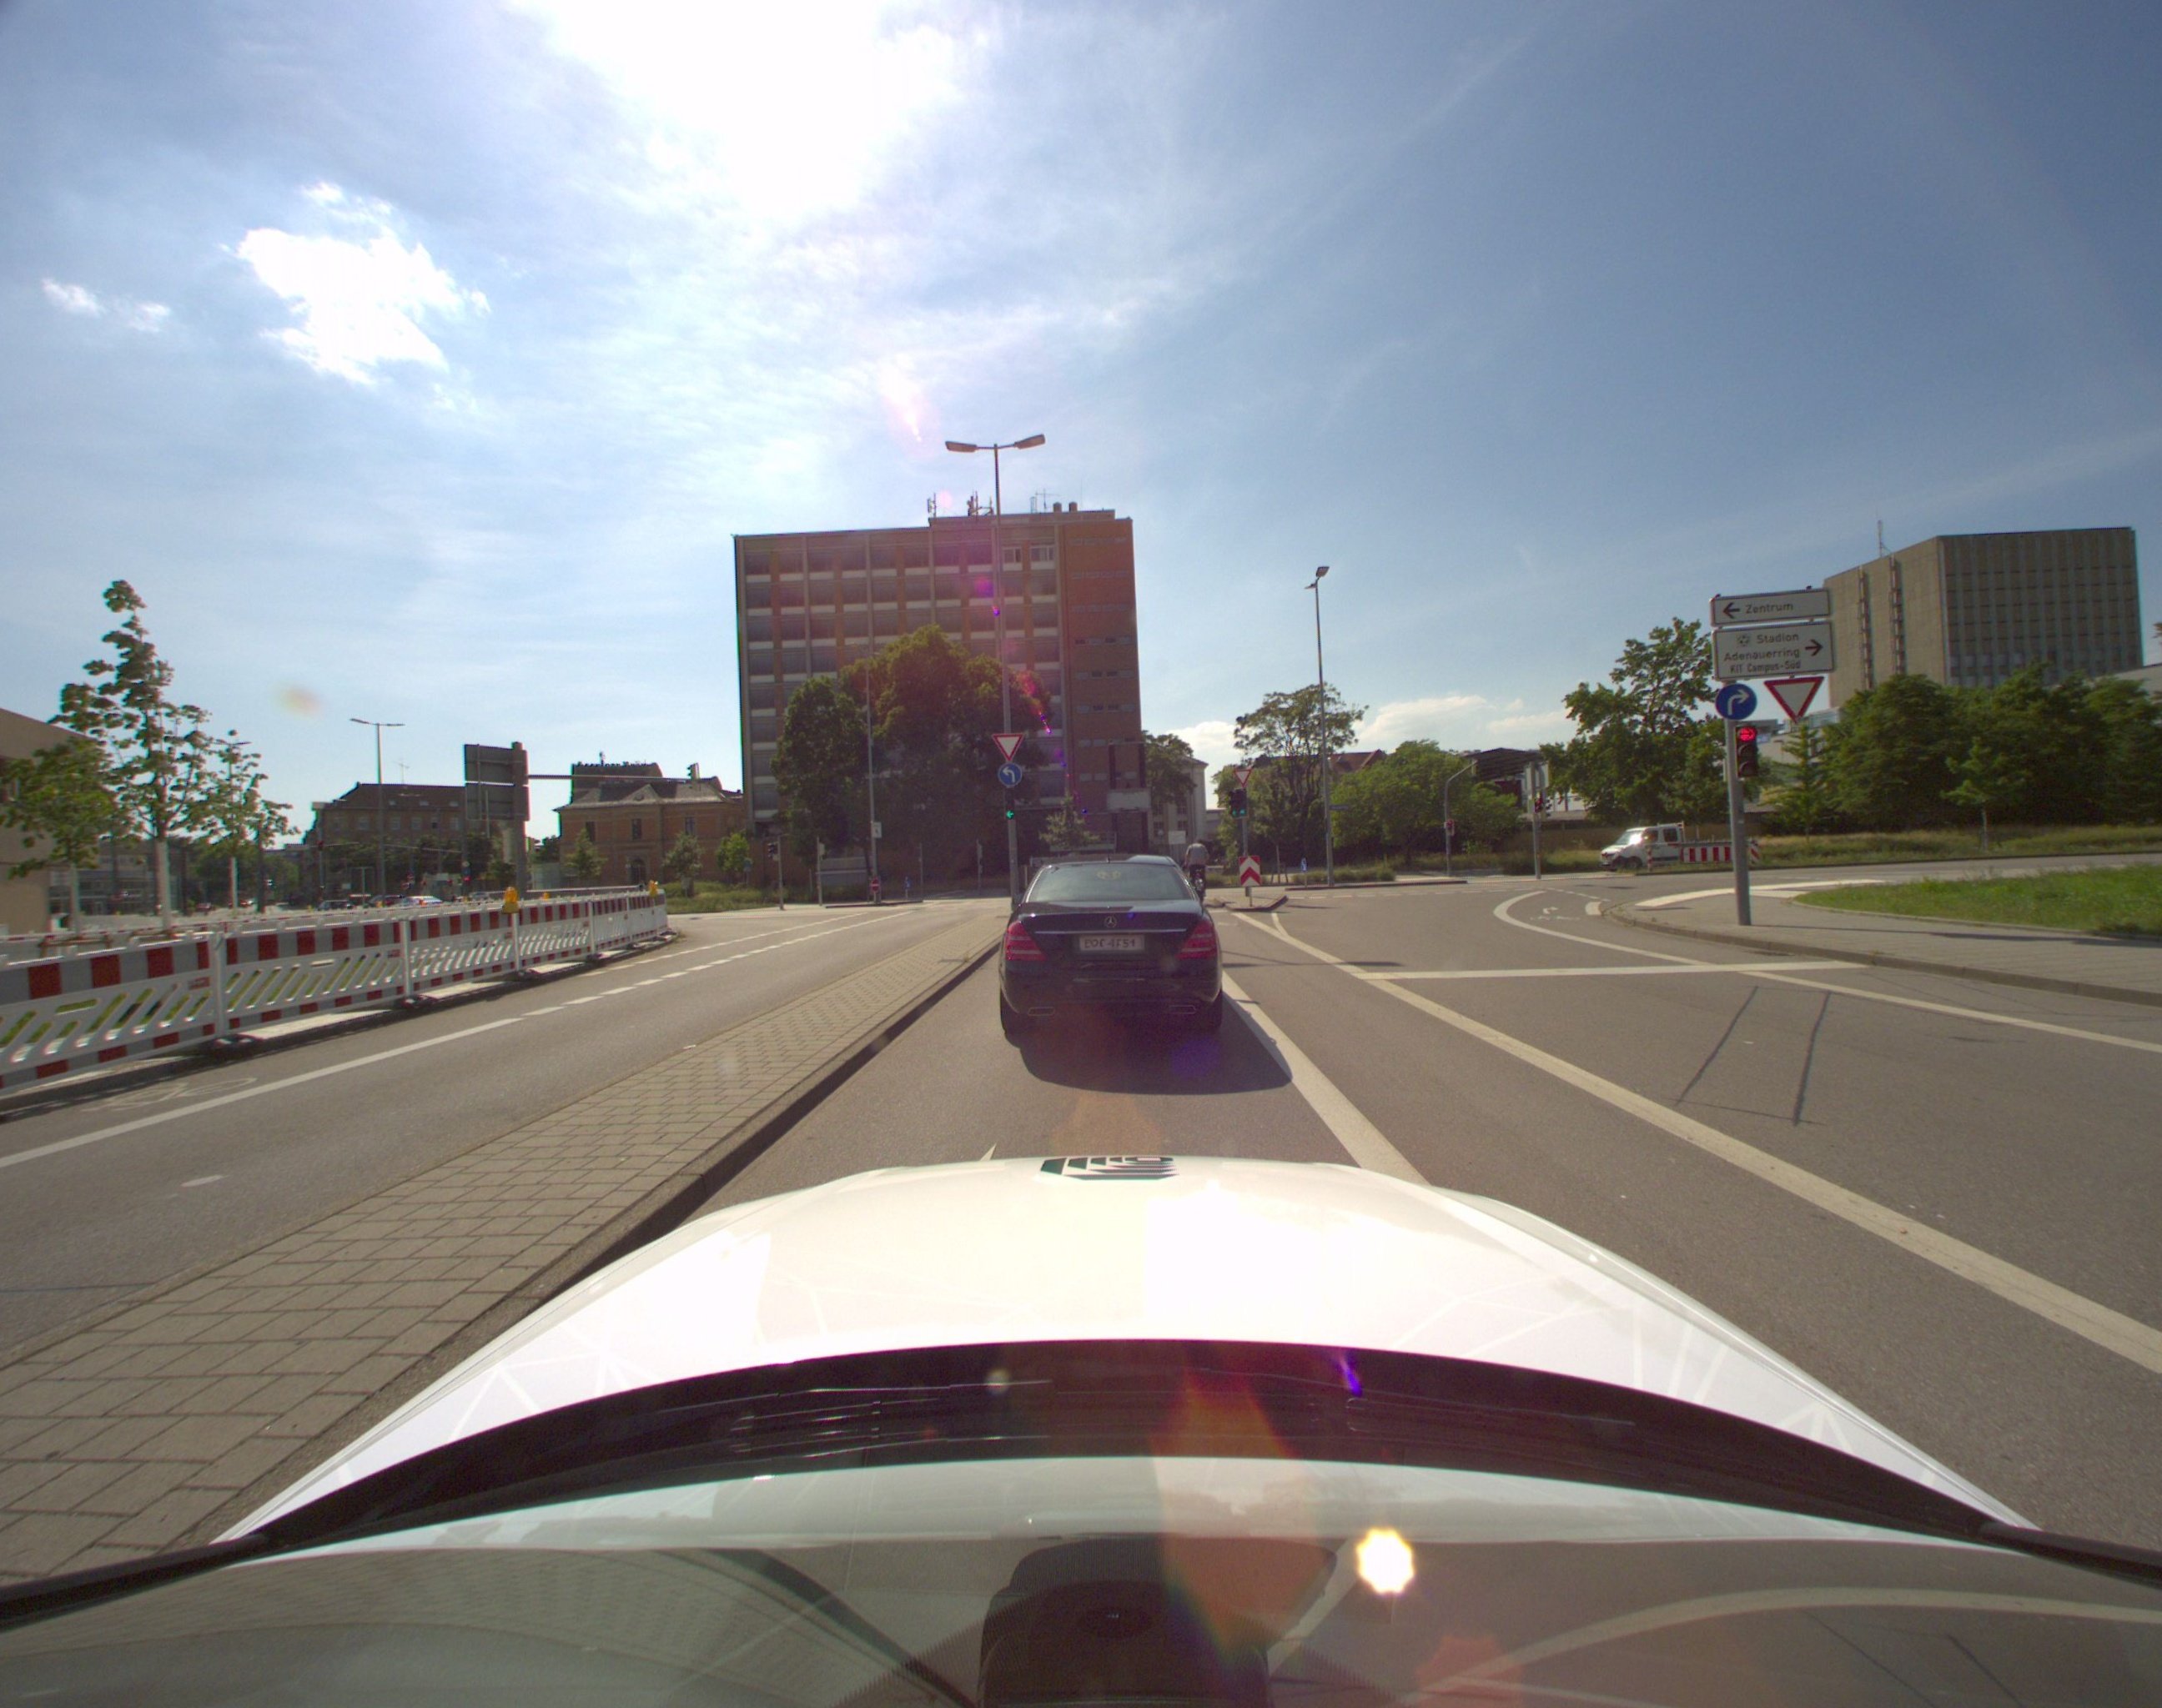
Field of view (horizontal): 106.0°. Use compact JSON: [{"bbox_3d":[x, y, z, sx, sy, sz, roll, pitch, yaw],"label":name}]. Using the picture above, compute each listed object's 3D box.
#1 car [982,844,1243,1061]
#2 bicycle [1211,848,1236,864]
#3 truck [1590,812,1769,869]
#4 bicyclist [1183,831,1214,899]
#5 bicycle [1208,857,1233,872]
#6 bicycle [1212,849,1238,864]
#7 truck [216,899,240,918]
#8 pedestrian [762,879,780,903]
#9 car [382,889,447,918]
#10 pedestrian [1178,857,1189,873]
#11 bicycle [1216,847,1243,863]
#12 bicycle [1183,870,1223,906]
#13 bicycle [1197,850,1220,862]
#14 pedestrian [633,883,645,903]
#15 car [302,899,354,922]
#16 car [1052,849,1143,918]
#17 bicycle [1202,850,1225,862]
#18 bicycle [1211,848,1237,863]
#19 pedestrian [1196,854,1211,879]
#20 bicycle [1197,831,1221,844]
[{"bbox_3d":[0.281,0.724,8.203,1.852,1.530,4.715,-1,-1,1],"label":"car"},{"bbox_3d":[16.797,0.208,96.015,2.813,1.659,0.842,-3,1,1],"label":"bicycle"},{"bbox_3d":[29.967,-0.626,40.968,6.997,2.356,2.414,-3,-2,2],"label":"truck"},{"bbox_3d":[3.311,0.316,23.019,0.684,1.878,0.858,-1,-1,-4],"label":"bicyclist"},{"bbox_3d":[16.749,1.267,98.129,2.813,1.537,0.842,-3,0,1],"label":"bicycle"},{"bbox_3d":[16.822,0.269,94.991,2.813,1.649,0.842,-3,0,1],"label":"bicycle"},{"bbox_3d":[-174.406,11.143,166.498,7.827,3.730,3.093,-4,-1,41],"label":"truck"},{"bbox_3d":[-23.002,2.755,60.432,0.790,1.725,0.878,-3,-1,24],"label":"pedestrian"},{"bbox_3d":[-47.862,3.567,58.514,3.951,1.816,2.011,-3,-1,24],"label":"car"},{"bbox_3d":[8.004,0.883,63.584,0.788,1.214,0.759,-1,-1,8],"label":"pedestrian"},{"bbox_3d":[17.036,0.094,93.508,2.813,1.744,0.842,-3,0,1],"label":"bicycle"},{"bbox_3d":[3.358,0.918,22.581,0.691,0.946,1.956,0,-1,-3],"label":"bicycle"},{"bbox_3d":[16.598,0.270,106.185,2.812,1.480,0.842,-3,0,2],"label":"bicycle"},{"bbox_3d":[-38.835,3.415,71.562,0.642,1.661,0.654,-1,-1,28],"label":"pedestrian"},{"bbox_3d":[-55.676,4.180,60.177,3.948,1.510,1.811,-3,-1,32],"label":"car"},{"bbox_3d":[0.427,0.658,19.917,1.986,1.508,4.001,0,-1,2],"label":"car"},{"bbox_3d":[16.956,0.254,104.279,2.813,1.500,0.842,-3,0,1],"label":"bicycle"},{"bbox_3d":[17.011,0.179,97.040,2.813,1.587,0.842,-3,0,1],"label":"bicycle"},{"bbox_3d":[7.936,0.831,52.779,0.807,1.579,0.693,-3,-1,3],"label":"pedestrian"},{"bbox_3d":[16.098,-2.076,102.379,2.813,1.559,0.842,-3,0,1],"label":"bicycle"}]
